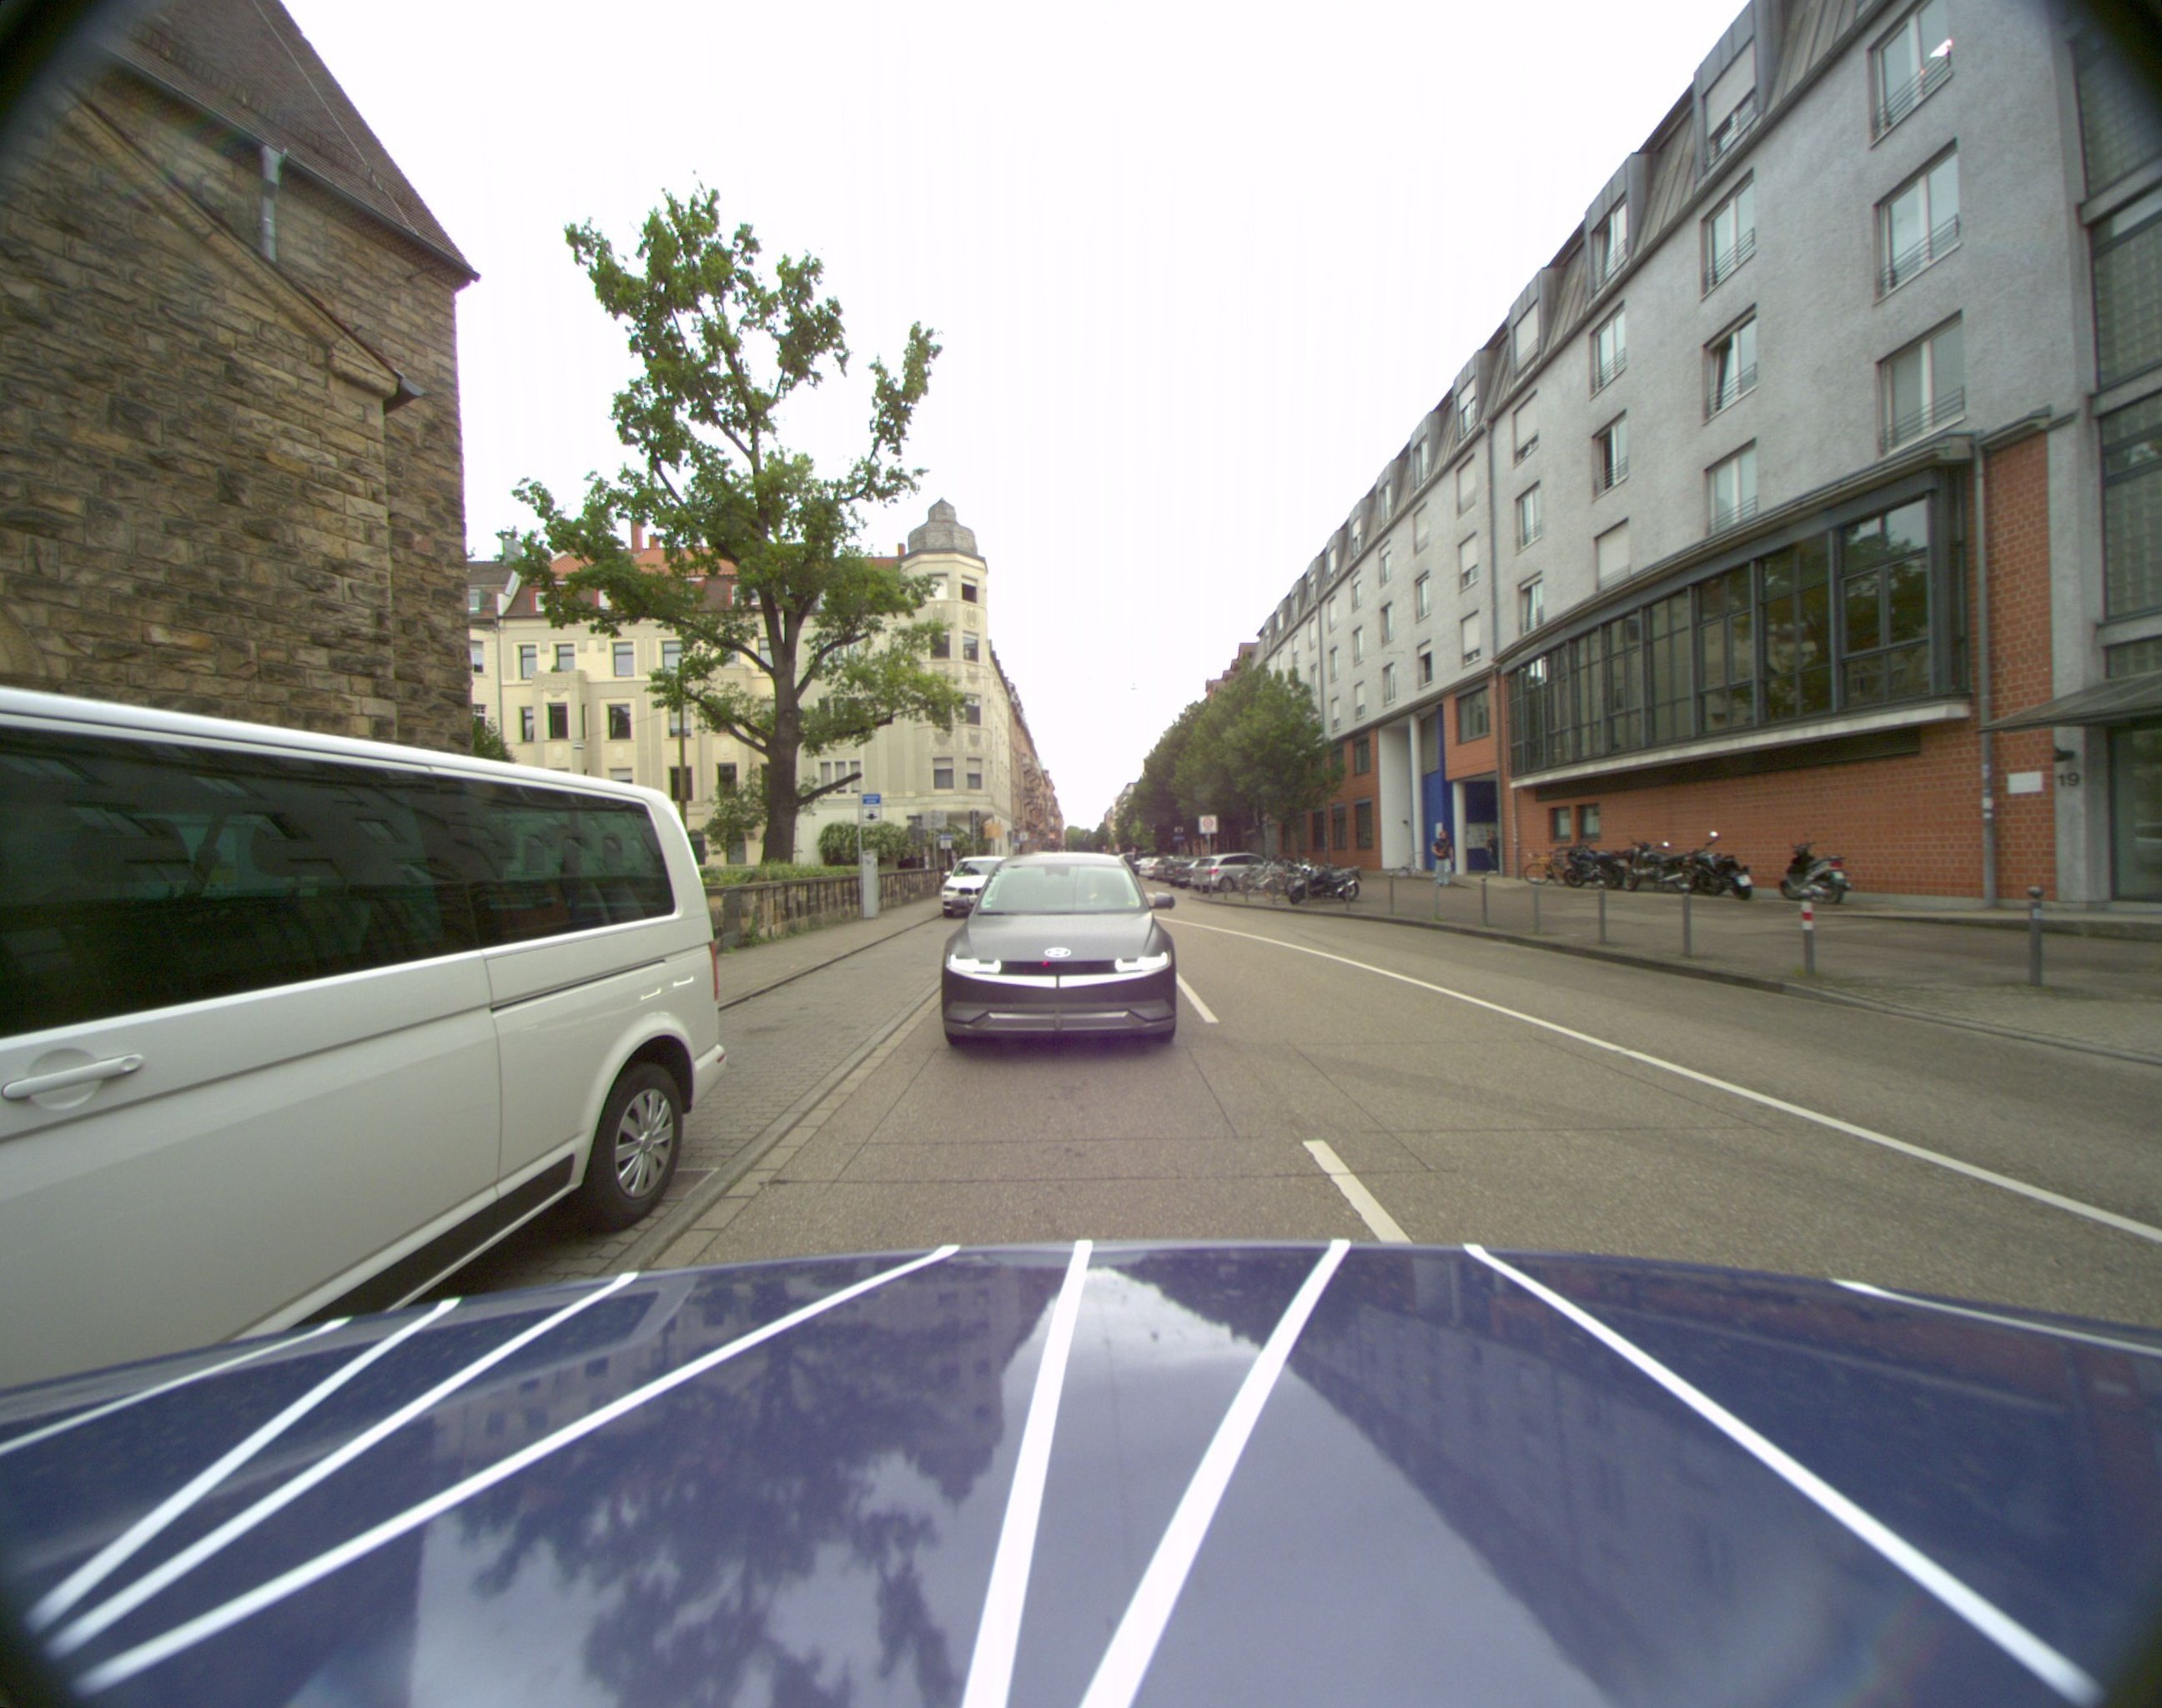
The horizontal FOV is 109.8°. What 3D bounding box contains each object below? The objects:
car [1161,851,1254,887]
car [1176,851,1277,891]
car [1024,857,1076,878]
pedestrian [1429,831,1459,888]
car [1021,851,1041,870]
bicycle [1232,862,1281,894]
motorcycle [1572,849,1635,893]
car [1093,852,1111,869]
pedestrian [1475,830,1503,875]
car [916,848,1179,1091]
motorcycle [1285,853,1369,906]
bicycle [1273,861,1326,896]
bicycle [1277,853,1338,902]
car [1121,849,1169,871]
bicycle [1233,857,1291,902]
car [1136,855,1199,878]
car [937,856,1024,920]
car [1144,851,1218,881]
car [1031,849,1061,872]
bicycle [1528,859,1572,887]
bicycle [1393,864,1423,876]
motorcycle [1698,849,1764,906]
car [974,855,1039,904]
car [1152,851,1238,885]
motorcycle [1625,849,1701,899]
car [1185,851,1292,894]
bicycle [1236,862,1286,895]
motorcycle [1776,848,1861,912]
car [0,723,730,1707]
[{"bbox_3d":[6.199,0.714,37.333,4.004,1.619,1.996,-2,0,-22],"label":"car"},{"bbox_3d":[6.519,0.726,34.115,4.004,1.619,1.996,-2,0,-22],"label":"car"},{"bbox_3d":[-2.522,1.048,60.193,1.916,1.597,4.239,-2,1,-39],"label":"car"},{"bbox_3d":[11.809,0.175,24.720,0.621,1.812,0.642,-2,1,1],"label":"pedestrian"},{"bbox_3d":[-4.165,0.539,63.723,1.336,1.462,2.857,-2,1,1],"label":"car"},{"bbox_3d":[6.370,0.863,27.606,1.630,1.067,0.416,-3,1,-1],"label":"bicycle"},{"bbox_3d":[13.638,0.427,19.879,0.446,1.091,1.763,-2,0,1],"label":"motorcycle"},{"bbox_3d":[2.500,0.745,91.081,1.998,1.897,4.000,-2,0,1],"label":"car"},{"bbox_3d":[15.341,-0.056,28.557,0.686,1.640,0.622,-2,1,2],"label":"pedestrian"},{"bbox_3d":[-0.210,0.821,7.377,1.820,1.675,4.000,-2,0,1],"label":"car"},{"bbox_3d":[6.950,0.710,21.502,2.124,1.345,0.599,-3,1,1],"label":"motorcycle"},{"bbox_3d":[7.473,0.835,26.024,1.630,1.067,0.416,-3,1,-1],"label":"bicycle"},{"bbox_3d":[6.751,0.699,22.677,1.630,1.345,0.416,-3,1,-1],"label":"bicycle"},{"bbox_3d":[6.073,0.563,72.348,4.004,1.897,1.996,-2,0,-22],"label":"car"},{"bbox_3d":[5.568,0.782,23.429,1.630,1.282,0.416,-3,1,-1],"label":"bicycle"},{"bbox_3d":[5.999,0.851,52.686,4.004,1.488,1.735,-2,0,-22],"label":"car"},{"bbox_3d":[-2.693,0.864,21.199,1.820,1.556,4.000,-2,0,1],"label":"car"},{"bbox_3d":[6.055,0.703,46.049,4.004,1.619,1.996,-2,0,-22],"label":"car"},{"bbox_3d":[-2.420,0.453,53.637,1.820,1.556,4.000,-2,0,1],"label":"car"},{"bbox_3d":[13.849,0.545,22.463,0.336,0.782,1.581,-2,0,1],"label":"bicycle"},{"bbox_3d":[13.386,0.651,31.105,1.010,0.434,0.527,-2,2,2],"label":"bicycle"},{"bbox_3d":[13.308,0.456,15.593,0.445,1.091,1.765,-1,0,21],"label":"motorcycle"},{"bbox_3d":[-2.569,0.838,27.026,1.820,1.556,4.000,-2,0,1],"label":"car"},{"bbox_3d":[6.010,0.701,40.103,4.004,1.619,1.996,-2,0,-22],"label":"car"},{"bbox_3d":[13.642,0.449,17.872,0.446,1.091,1.763,-2,0,1],"label":"motorcycle"},{"bbox_3d":[6.506,0.737,31.455,4.004,1.619,1.769,-2,0,-22],"label":"car"},{"bbox_3d":[6.390,0.869,27.069,1.630,1.067,0.416,-3,1,-1],"label":"bicycle"},{"bbox_3d":[13.510,0.447,13.977,0.445,1.091,1.765,-1,0,21],"label":"motorcycle"},{"bbox_3d":[-2.780,0.748,1.455,1.810,1.908,5.163,-2,0,-1],"label":"car"}]
